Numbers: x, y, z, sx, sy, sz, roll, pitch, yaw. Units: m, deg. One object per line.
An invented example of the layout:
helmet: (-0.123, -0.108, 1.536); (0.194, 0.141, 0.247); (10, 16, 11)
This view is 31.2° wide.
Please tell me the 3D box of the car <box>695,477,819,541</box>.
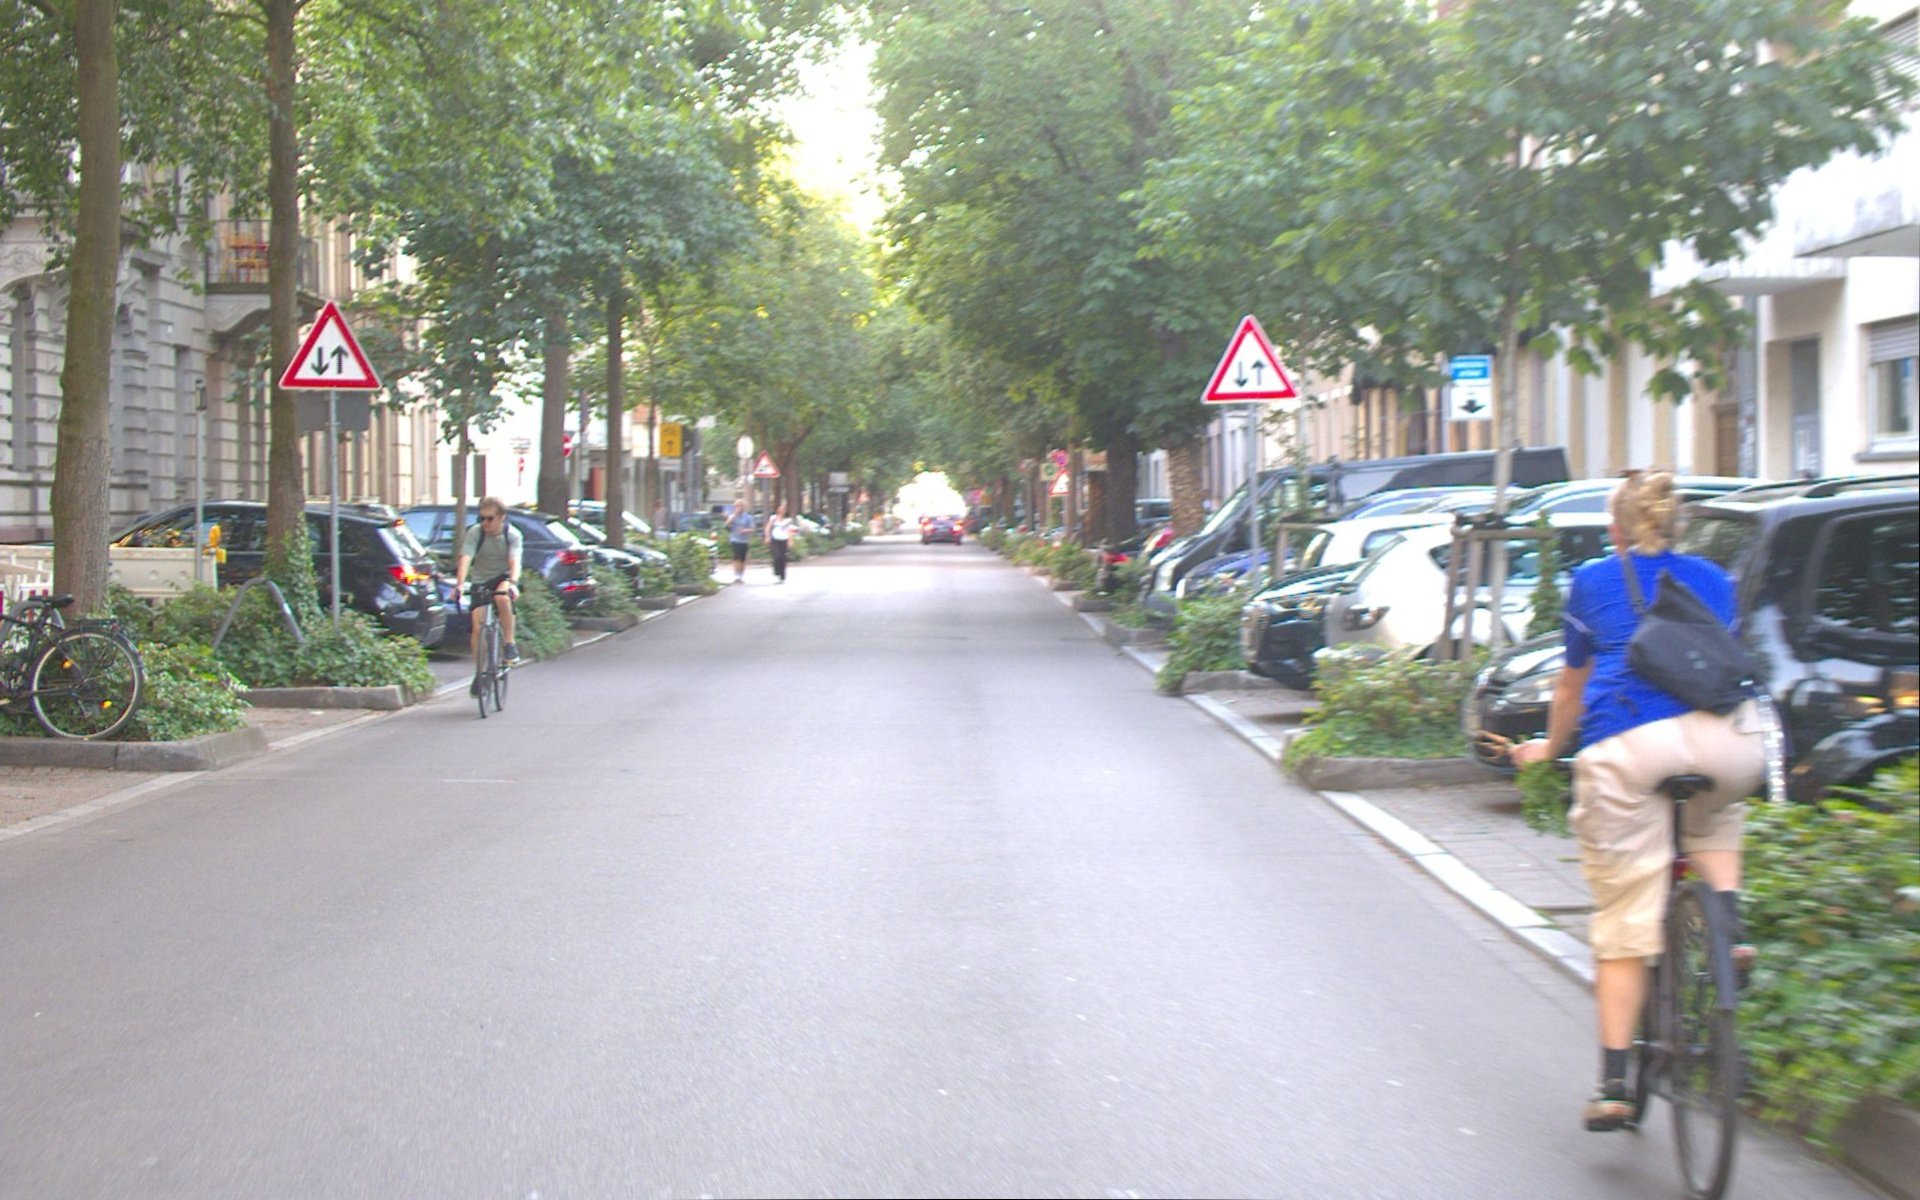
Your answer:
car: (-7.857, -3.523, 133.430); (4.682, 2.469, 2.000); (0, 1, 0)

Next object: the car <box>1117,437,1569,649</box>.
car: (4.229, -0.646, 38.504); (4.689, 2.004, 2.037); (-4, 1, -1)

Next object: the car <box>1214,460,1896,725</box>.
car: (4.313, -0.076, 25.442); (4.590, 1.573, 1.944); (-4, 1, -1)

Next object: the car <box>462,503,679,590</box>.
car: (-6.978, -0.975, 61.844); (3.692, 1.453, 1.873); (1, 2, -1)

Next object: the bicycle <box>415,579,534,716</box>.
bicycle: (-3.799, 0.354, 26.983); (0.672, 0.990, 1.758); (-1, 2, 0)

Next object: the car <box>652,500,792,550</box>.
car: (-7.189, -2.266, 104.227); (4.127, 1.481, 1.929); (0, 1, -1)

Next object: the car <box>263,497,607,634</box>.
car: (-6.837, -0.466, 45.094); (4.201, 1.666, 1.908); (1, 2, 0)

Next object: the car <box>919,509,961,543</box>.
car: (-0.954, -3.562, 165.660); (1.956, 1.560, 4.282); (-2, 1, 0)

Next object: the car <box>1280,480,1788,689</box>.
car: (4.674, -0.144, 28.337); (3.792, 1.418, 1.698); (-4, 1, -1)

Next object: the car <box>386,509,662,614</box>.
car: (-6.559, -0.587, 51.999); (3.945, 1.527, 1.908); (0, 1, -1)

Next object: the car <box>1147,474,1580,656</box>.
car: (4.154, -0.378, 35.887); (4.155, 1.573, 1.970); (-4, 1, -2)

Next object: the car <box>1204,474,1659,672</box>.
car: (4.446, -0.270, 32.848); (3.965, 1.573, 1.852); (-4, 1, -1)

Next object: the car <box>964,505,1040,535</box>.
car: (2.398, -4.573, 196.548); (4.268, 1.560, 1.963); (-2, 1, 0)

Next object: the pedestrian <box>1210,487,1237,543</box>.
pedestrian: (7.306, -2.358, 95.342); (0.655, 1.531, 0.831); (-1, 1, 1)

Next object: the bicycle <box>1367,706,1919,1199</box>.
bicycle: (1.575, 0.820, 8.151); (0.672, 1.026, 1.977); (1, 1, -9)

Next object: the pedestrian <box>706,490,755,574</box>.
pedestrian: (-4.844, -1.434, 72.575); (0.794, 1.731, 0.831); (-2, 1, -19)

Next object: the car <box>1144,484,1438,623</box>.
car: (4.389, -0.634, 45.929); (3.680, 1.573, 1.714); (-4, 1, 0)

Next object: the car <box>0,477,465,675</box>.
car: (-6.851, -0.241, 32.645); (3.965, 1.591, 1.781); (3, 1, 0)

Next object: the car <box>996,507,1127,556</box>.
car: (3.697, -2.495, 124.978); (4.717, 1.704, 1.950); (0, 2, 2)

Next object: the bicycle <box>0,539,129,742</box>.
bicycle: (-6.042, 0.241, 21.080); (1.771, 1.228, 0.500); (0, 0, 5)

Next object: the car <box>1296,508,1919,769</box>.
car: (4.413, 0.231, 23.222); (4.074, 1.424, 1.818); (-4, 1, 2)

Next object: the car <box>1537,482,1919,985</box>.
car: (4.240, 0.384, 12.034); (4.109, 1.612, 1.961); (-1, 2, 0)

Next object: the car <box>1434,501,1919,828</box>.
car: (4.711, 0.255, 17.387); (4.315, 1.491, 1.794); (-2, 1, -1)

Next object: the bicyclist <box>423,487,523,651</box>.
bicyclist: (-3.810, -0.249, 26.942); (0.672, 1.259, 0.648); (-1, 2, 0)

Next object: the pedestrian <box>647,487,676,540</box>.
pedestrian: (-9.973, -2.876, 114.793); (0.704, 1.751, 0.739); (0, 1, 23)

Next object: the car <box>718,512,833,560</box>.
car: (-7.809, -2.696, 145.880); (4.682, 1.847, 1.963); (-2, 1, 0)

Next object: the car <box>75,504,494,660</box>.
car: (-7.007, -0.206, 35.922); (3.965, 1.382, 1.765); (3, 2, 1)

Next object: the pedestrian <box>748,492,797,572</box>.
pedestrian: (-3.965, -1.445, 72.710); (0.794, 1.665, 0.831); (-2, 1, -19)

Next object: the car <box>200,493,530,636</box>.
car: (-7.345, -0.456, 42.666); (3.800, 1.666, 1.714); (1, 2, -1)

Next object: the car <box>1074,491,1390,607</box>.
car: (3.996, -0.770, 51.036); (4.400, 1.389, 1.886); (-4, 1, -2)

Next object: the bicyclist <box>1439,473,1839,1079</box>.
bicyclist: (1.588, 0.391, 8.136); (0.672, 1.359, 0.777); (1, 1, -9)

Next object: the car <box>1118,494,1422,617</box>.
car: (4.344, -0.638, 48.550); (3.987, 1.433, 1.927); (-4, 1, -2)

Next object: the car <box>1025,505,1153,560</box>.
car: (3.662, -1.942, 98.184); (3.483, 1.447, 1.900); (-2, 2, -2)
